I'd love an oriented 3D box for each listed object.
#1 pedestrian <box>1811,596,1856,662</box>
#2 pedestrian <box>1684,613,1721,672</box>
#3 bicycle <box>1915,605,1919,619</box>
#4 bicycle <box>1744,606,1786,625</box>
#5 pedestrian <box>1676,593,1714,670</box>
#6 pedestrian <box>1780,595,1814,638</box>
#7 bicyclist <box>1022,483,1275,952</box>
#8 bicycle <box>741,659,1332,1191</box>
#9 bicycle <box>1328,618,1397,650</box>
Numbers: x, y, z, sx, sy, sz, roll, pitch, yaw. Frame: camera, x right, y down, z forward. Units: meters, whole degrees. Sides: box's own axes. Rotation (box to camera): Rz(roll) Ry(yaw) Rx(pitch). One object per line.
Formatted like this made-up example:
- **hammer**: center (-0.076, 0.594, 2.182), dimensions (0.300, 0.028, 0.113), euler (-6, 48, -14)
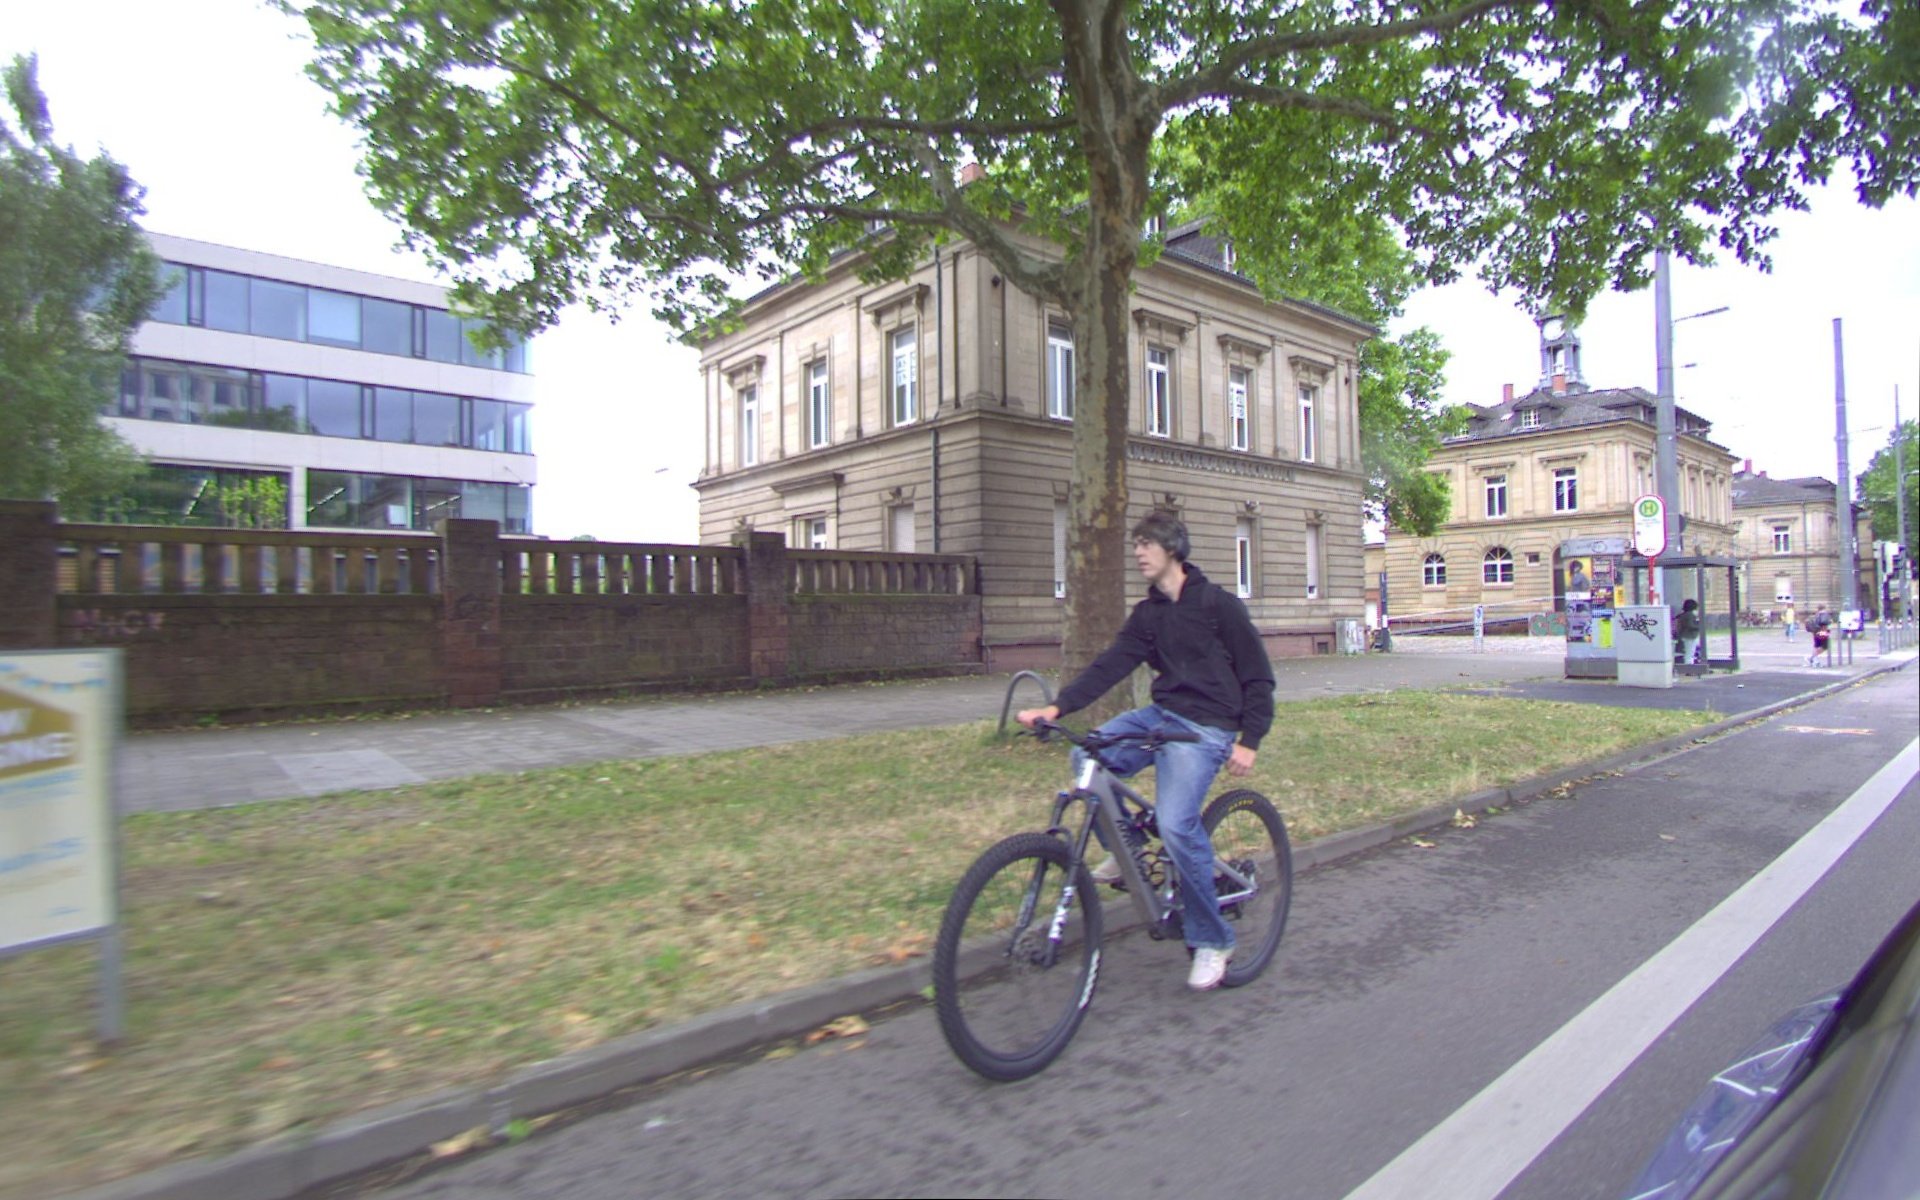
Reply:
- **pedestrian**: center (20.988, 0.683, 24.323), dimensions (0.625, 1.548, 0.554), euler (-1, -1, -23)
- **pedestrian**: center (16.154, 0.917, 22.010), dimensions (0.690, 1.250, 0.477), euler (-1, -1, -41)
- **bicycle**: center (83.317, 1.056, 87.669), dimensions (0.674, 1.179, 2.083), euler (-2, -1, 40)
- **bicycle**: center (47.067, 0.901, 59.198), dimensions (1.843, 1.092, 0.541), euler (2, 1, 32)
- **pedestrian**: center (15.364, 0.646, 21.154), dimensions (0.690, 1.583, 0.477), euler (-1, -1, -41)
- **pedestrian**: center (33.520, 0.663, 40.516), dimensions (0.980, 1.699, 0.721), euler (-1, -1, -31)
- **bicyclist**: center (0.706, 0.388, 3.808), dimensions (0.653, 1.550, 0.641), euler (0, -1, -42)
- **bicycle**: center (0.411, 0.852, 3.483), dimensions (2.244, 1.164, 0.653), euler (-1, -1, -42)
- **bicycle**: center (14.379, 1.231, 36.068), dimensions (3.347, 1.082, 0.901), euler (3, -4, -42)
